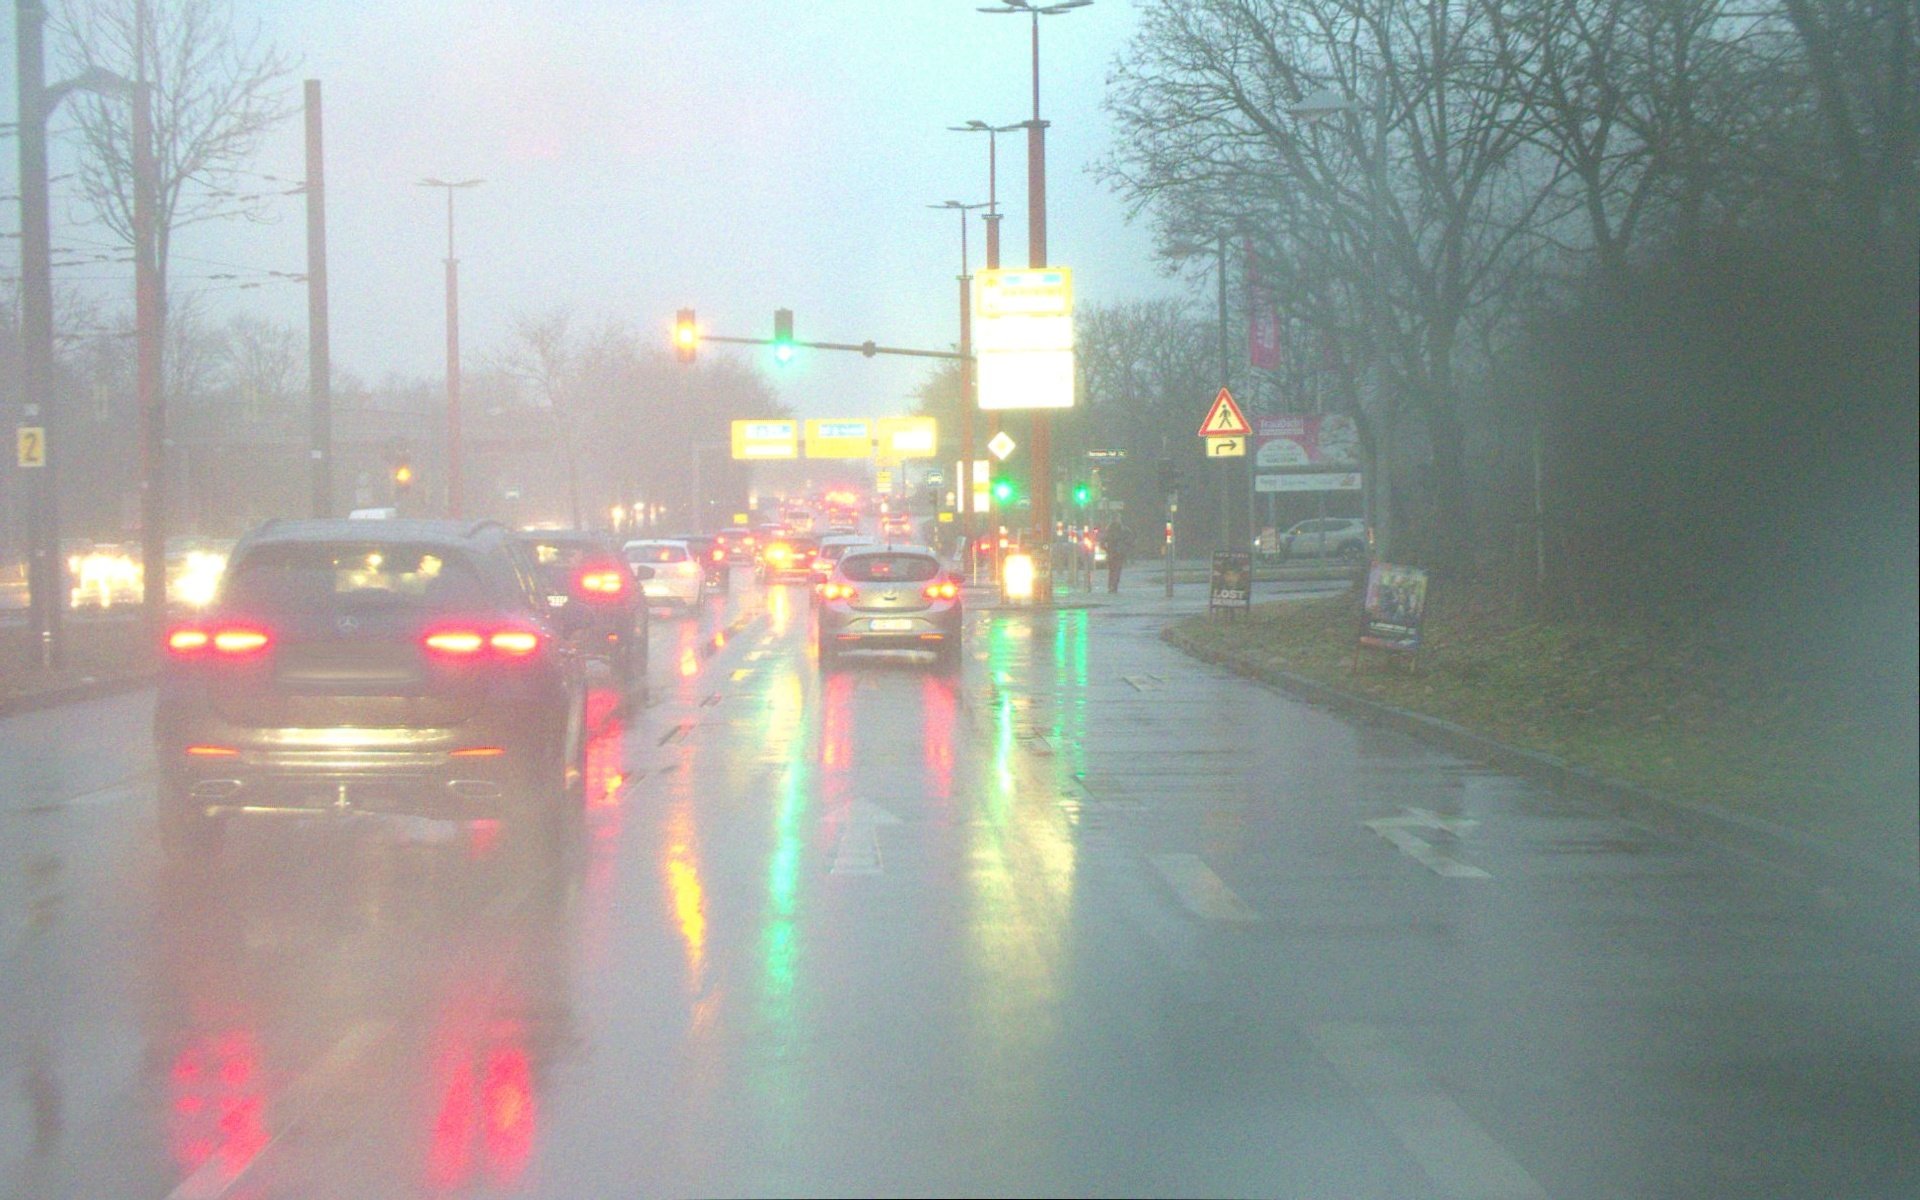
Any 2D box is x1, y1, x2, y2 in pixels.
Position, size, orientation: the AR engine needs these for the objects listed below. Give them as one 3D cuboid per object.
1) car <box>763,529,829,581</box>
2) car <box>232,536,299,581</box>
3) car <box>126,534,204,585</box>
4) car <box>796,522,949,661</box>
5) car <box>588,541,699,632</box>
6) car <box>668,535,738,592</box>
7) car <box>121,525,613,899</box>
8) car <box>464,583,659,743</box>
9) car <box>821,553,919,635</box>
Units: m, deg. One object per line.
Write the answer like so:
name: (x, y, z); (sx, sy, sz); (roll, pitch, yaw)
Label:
car: (-4.836, -1.346, 101.710); (1.822, 1.499, 4.000); (-1, 1, -1)
car: (-22.750, -1.365, 112.716); (1.652, 1.415, 3.327); (-1, 2, -3)
car: (-25.667, -1.323, 111.082); (1.769, 1.548, 3.948); (-1, 2, -3)
car: (-1.120, -0.143, 43.910); (1.822, 1.642, 4.467); (-1, 1, -1)
car: (-5.988, -0.291, 65.414); (1.822, 1.642, 4.000); (-1, 1, -1)
car: (-6.327, -0.916, 84.855); (1.505, 1.334, 4.000); (-1, 1, -1)
car: (-2.867, 0.454, 17.570); (1.822, 1.642, 4.467); (-1, 1, -1)
car: (-4.466, 0.668, 39.056); (1.822, 1.642, 4.000); (-1, 1, -1)
car: (-1.892, -0.139, 72.009); (1.993, 1.656, 4.000); (0, 1, -2)
